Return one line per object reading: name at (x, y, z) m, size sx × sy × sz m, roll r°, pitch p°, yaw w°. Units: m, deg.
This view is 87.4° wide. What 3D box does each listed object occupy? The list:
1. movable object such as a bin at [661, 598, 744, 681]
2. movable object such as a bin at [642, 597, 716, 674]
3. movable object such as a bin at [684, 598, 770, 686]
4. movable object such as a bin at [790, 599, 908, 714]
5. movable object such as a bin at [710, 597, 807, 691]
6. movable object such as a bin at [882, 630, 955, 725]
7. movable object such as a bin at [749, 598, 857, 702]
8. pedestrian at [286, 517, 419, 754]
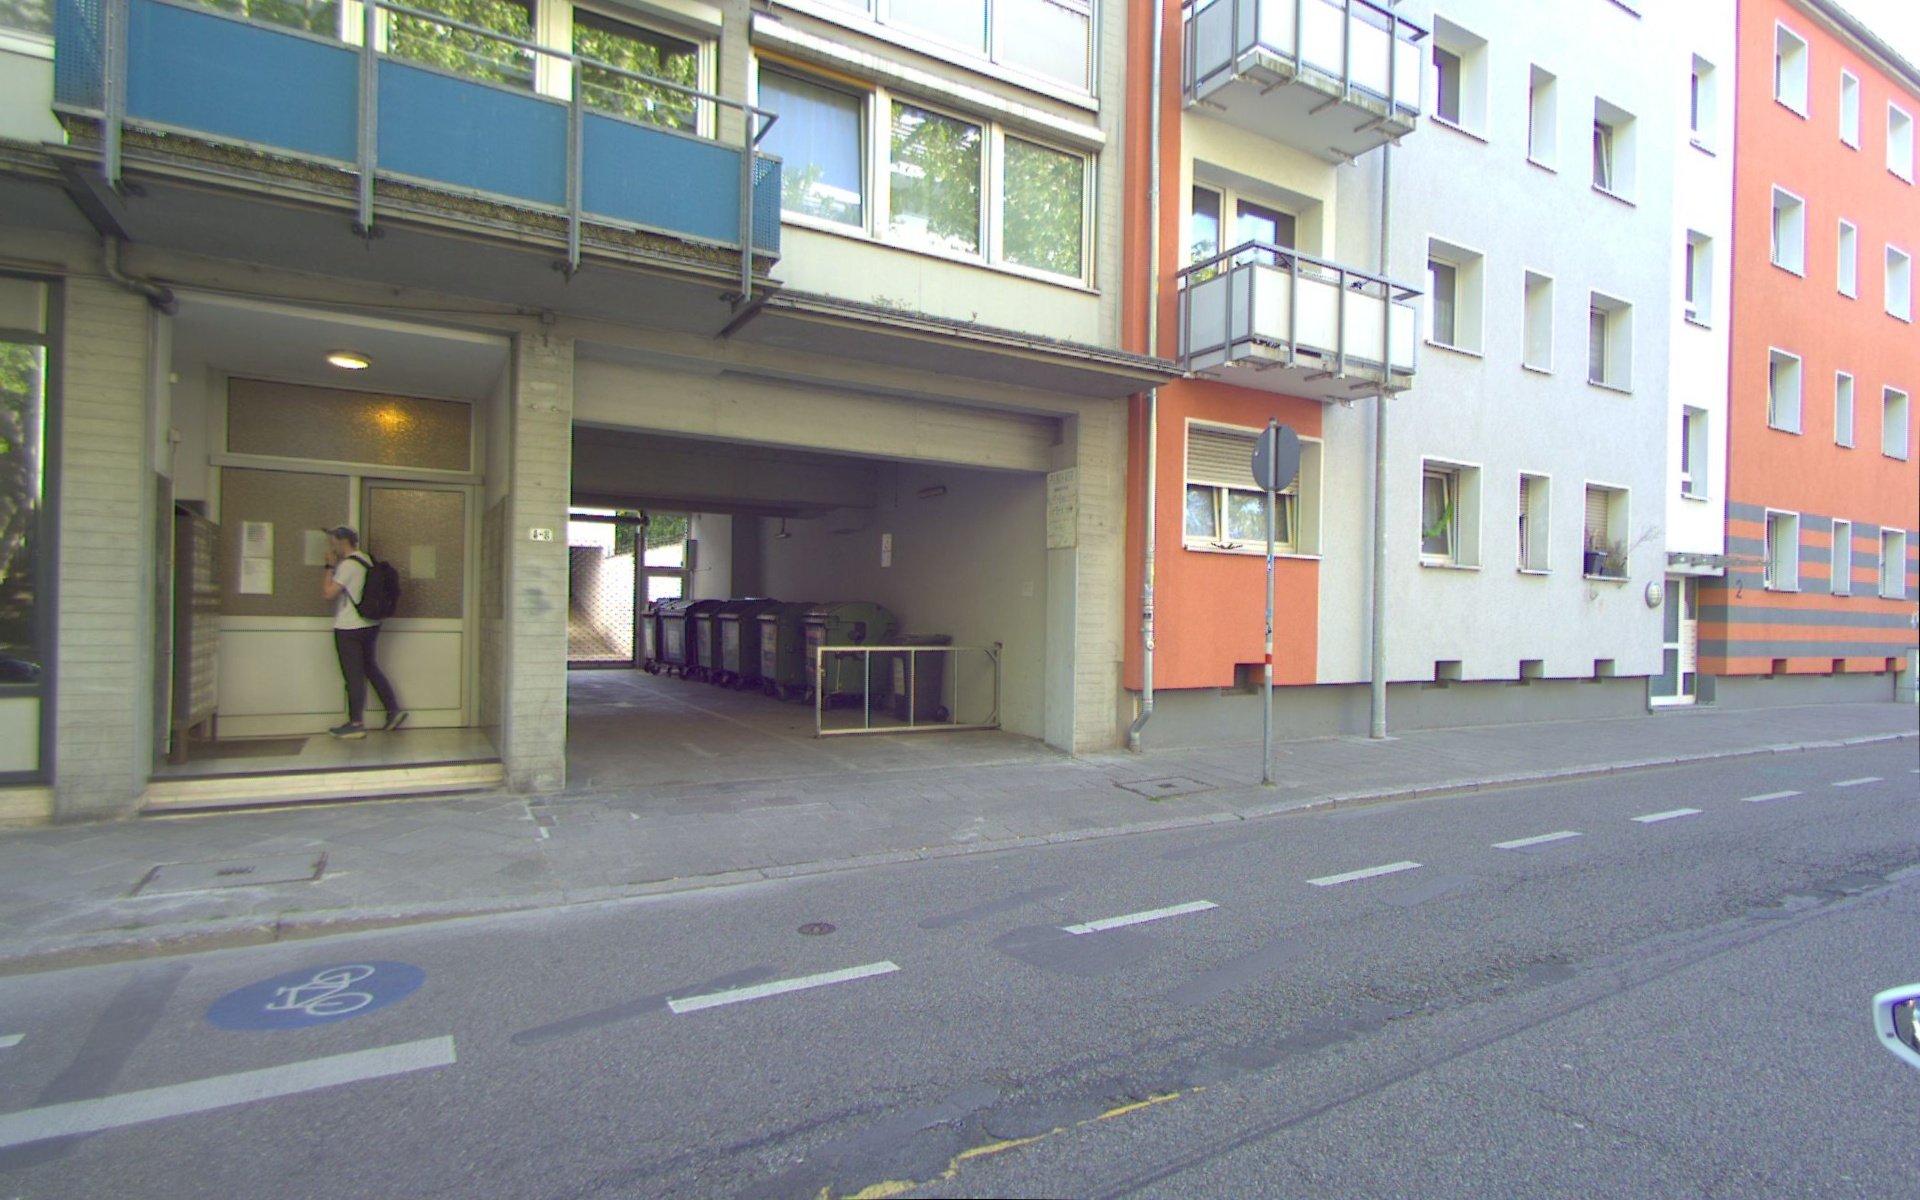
movable object such as a bin at (-4.819, 0.725, 18.764) m, size 1.186 × 1.467 × 1.222 m, roll 2°, pitch 0°, yaw -30°
movable object such as a bin at (-5.595, 0.690, 19.994) m, size 1.186 × 1.467 × 1.027 m, roll 2°, pitch 0°, yaw -30°
movable object such as a bin at (-4.120, 0.723, 17.722) m, size 1.186 × 1.467 × 1.114 m, roll 2°, pitch 0°, yaw -30°
movable object such as a bin at (-1.542, 0.744, 13.813) m, size 1.159 × 1.467 × 1.319 m, roll 2°, pitch 0°, yaw -30°
movable object such as a bin at (-3.349, 0.703, 16.631) m, size 1.186 × 1.467 × 1.319 m, roll 2°, pitch 0°, yaw -30°
movable object such as a bin at (-0.515, 0.944, 12.421) m, size 0.745 × 1.116 × 0.463 m, roll 2°, pitch 0°, yaw -30°
movable object such as a bin at (-2.382, 0.725, 15.147) m, size 1.186 × 1.467 × 1.319 m, roll 2°, pitch 0°, yaw -30°
pedestrian at (-5.181, 0.288, 8.578) m, size 0.573 × 1.904 × 0.783 m, roll 2°, pitch 0°, yaw 39°
